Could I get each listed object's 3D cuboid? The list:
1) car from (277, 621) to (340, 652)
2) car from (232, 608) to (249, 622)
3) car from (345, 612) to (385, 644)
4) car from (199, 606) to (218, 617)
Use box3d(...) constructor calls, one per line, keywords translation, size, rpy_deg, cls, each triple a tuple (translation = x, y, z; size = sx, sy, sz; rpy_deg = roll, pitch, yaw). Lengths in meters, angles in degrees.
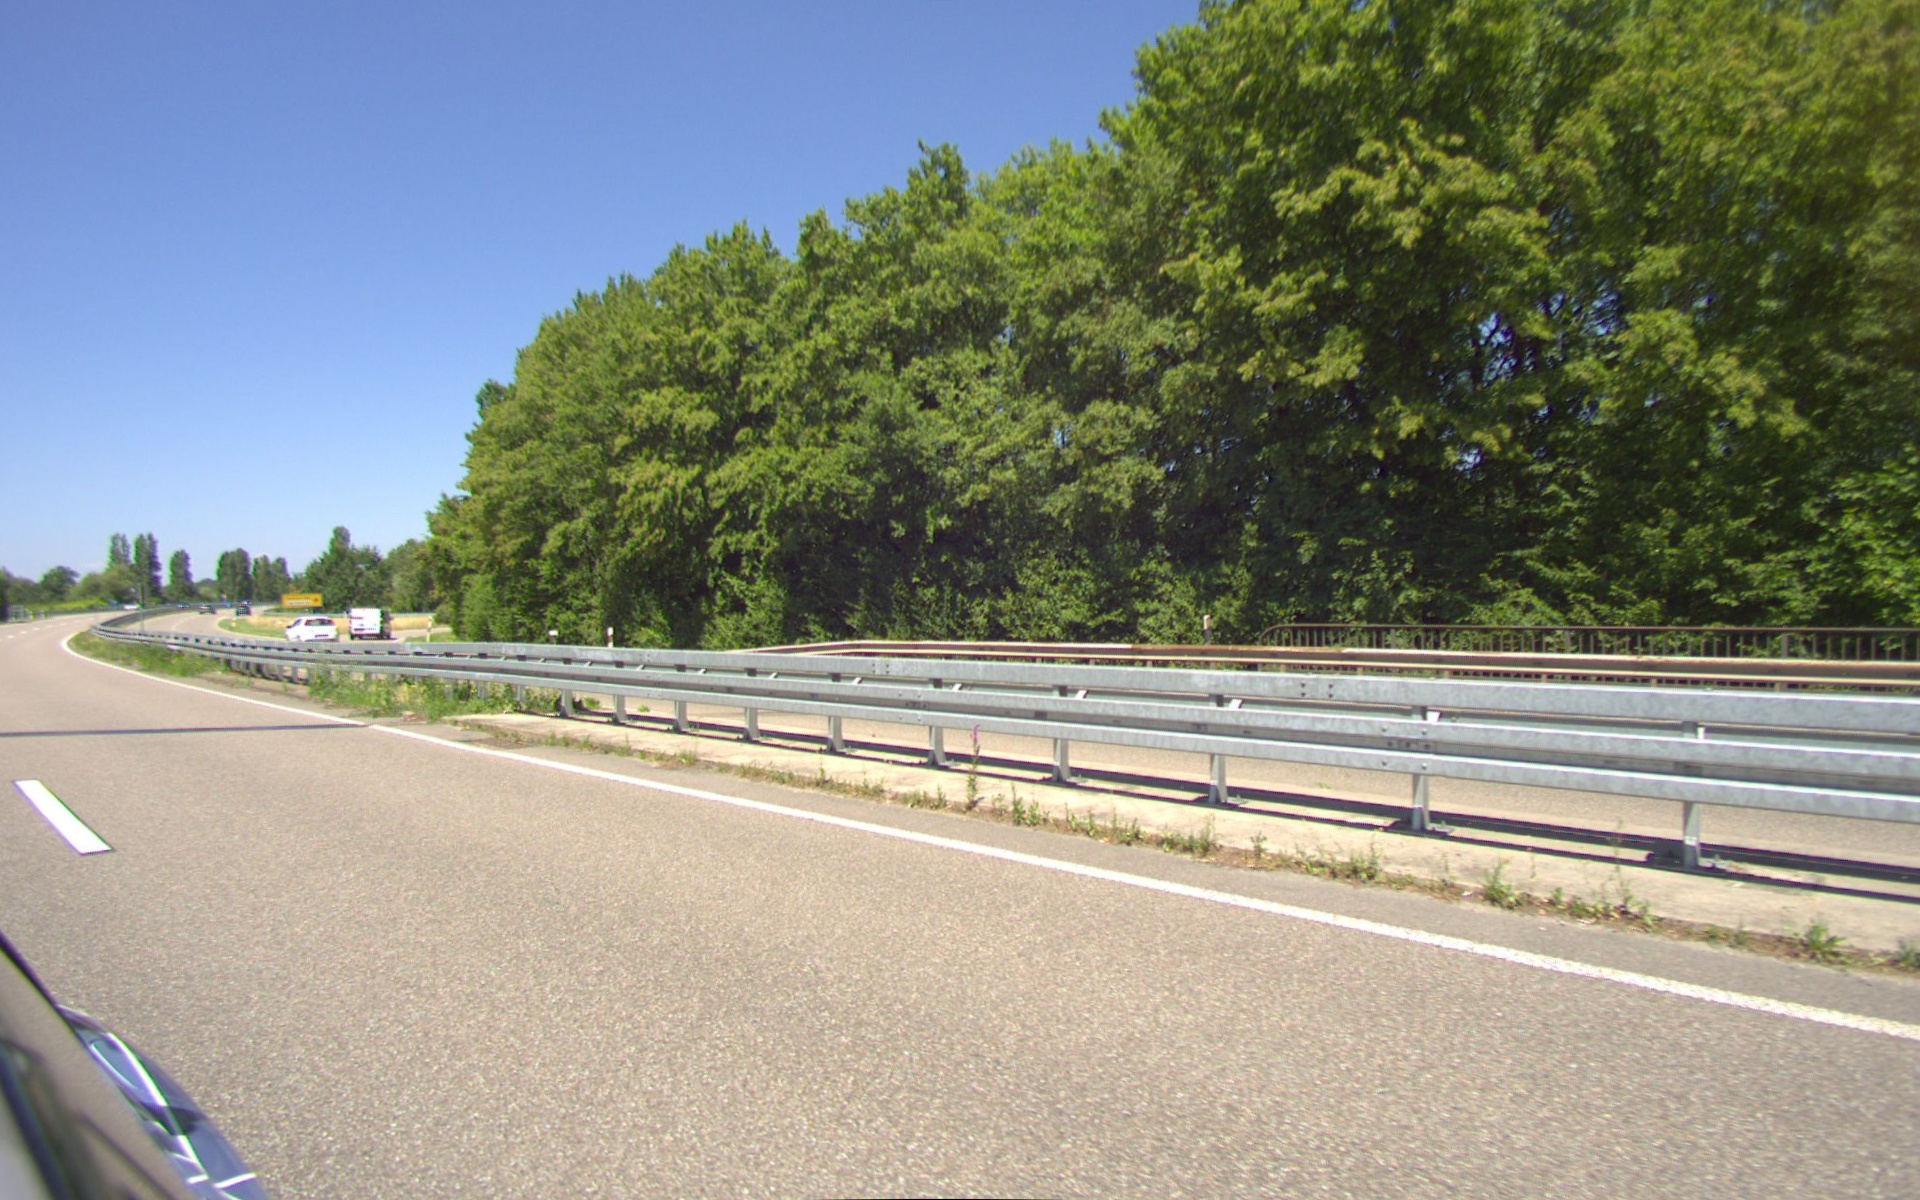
box3d(translation=(-31.897, 1.751, 49.520), size=(4.220, 1.458, 1.633), rpy_deg=(-1, -2, 44), cls="car")
box3d(translation=(-112.995, 2.331, 158.937), size=(1.967, 2.028, 4.011), rpy_deg=(-3, 2, -33), cls="car")
box3d(translation=(-38.092, 1.762, 64.919), size=(1.961, 1.966, 5.657), rpy_deg=(0, -1, -28), cls="car")
box3d(translation=(-122.973, 1.894, 165.645), size=(1.798, 1.630, 4.554), rpy_deg=(0, -1, -29), cls="car")
